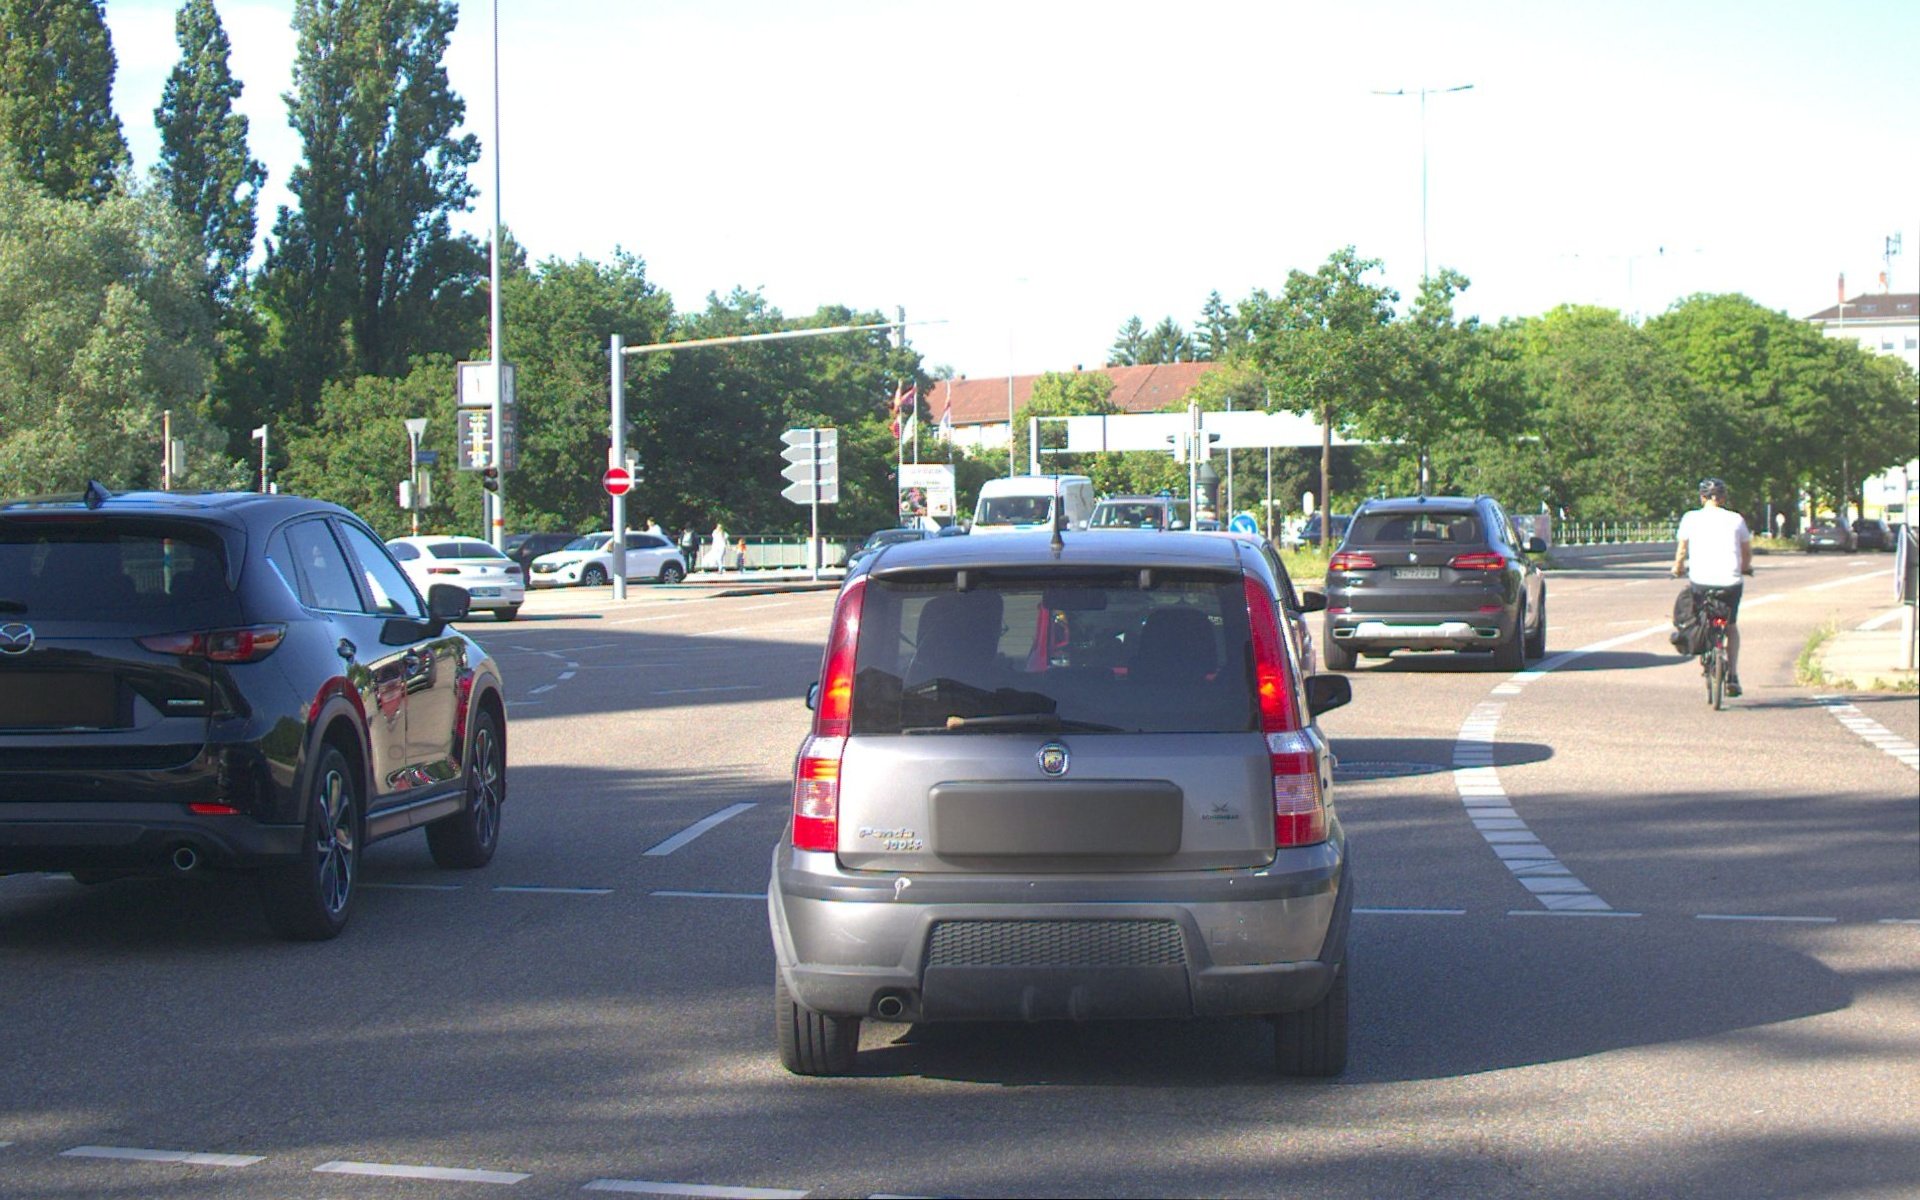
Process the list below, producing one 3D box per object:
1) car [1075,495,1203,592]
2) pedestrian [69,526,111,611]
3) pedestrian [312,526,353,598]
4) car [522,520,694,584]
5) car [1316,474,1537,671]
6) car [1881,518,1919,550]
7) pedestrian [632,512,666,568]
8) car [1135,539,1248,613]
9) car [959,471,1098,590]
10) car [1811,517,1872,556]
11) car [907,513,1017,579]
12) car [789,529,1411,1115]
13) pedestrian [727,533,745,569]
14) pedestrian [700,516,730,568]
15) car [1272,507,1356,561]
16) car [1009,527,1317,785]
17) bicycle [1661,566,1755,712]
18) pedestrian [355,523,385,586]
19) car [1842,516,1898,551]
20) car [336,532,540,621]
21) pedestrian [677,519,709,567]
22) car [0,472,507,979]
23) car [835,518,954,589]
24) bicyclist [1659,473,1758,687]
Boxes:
[{"bbox_3d":[3.906,-1.236,74.115,1.938,2.001,4.929,0,1,13],"label":"car"},{"bbox_3d":[-15.108,-0.556,59.682,0.679,1.458,0.703,-1,1,-13],"label":"pedestrian"},{"bbox_3d":[-13.662,-0.816,74.831,0.709,1.542,0.729,-1,0,-23],"label":"pedestrian"},{"bbox_3d":[-8.980,-1.249,87.901,1.783,1.530,4.318,2,3,41],"label":"car"},{"bbox_3d":[4.864,-0.327,35.431,1.946,1.833,4.151,3,2,11],"label":"car"},{"bbox_3d":[46.247,-3.249,167.993,1.947,1.523,4.093,0,1,21],"label":"car"},{"bbox_3d":[-9.378,-1.797,103.608,0.790,1.658,0.629,1,-1,25],"label":"pedestrian"},{"bbox_3d":[5.418,-0.573,79.887,1.938,1.616,4.503,0,1,13],"label":"car"},{"bbox_3d":[1.601,-1.582,77.719,1.938,2.567,6.085,0,1,13],"label":"car"},{"bbox_3d":[35.089,-2.530,136.795,1.947,1.523,4.093,0,1,20],"label":"car"},{"bbox_3d":[0.079,-1.358,85.350,1.811,1.536,4.614,-2,1,12],"label":"car"},{"bbox_3d":[0.435,0.543,10.953,1.617,1.510,3.820,1,1,2],"label":"car"},{"bbox_3d":[-7.079,-1.552,108.810,0.423,1.132,0.397,1,-1,18],"label":"pedestrian"},{"bbox_3d":[-7.750,-1.839,108.927,0.721,1.635,0.672,1,-1,18],"label":"pedestrian"},{"bbox_3d":[10.975,-2.052,106.357,1.938,1.616,4.503,0,1,14],"label":"car"},{"bbox_3d":[1.356,0.280,21.678,1.618,1.458,3.750,1,1,8],"label":"car"},{"bbox_3d":[5.965,0.291,27.440,0.691,1.098,1.825,1,1,12],"label":"bicycle"},{"bbox_3d":[-14.550,-1.126,84.755,0.556,1.542,0.576,-2,0,-23],"label":"pedestrian"},{"bbox_3d":[40.044,-2.921,151.185,1.947,1.523,4.093,0,1,21],"label":"car"},{"bbox_3d":[-8.697,-0.415,57.010,1.780,1.410,4.319,-1,2,-32],"label":"car"},{"bbox_3d":[-8.546,-1.825,109.971,0.671,1.497,0.778,1,-1,32],"label":"pedestrian"},{"bbox_3d":[-3.141,0.384,13.699,1.874,1.703,4.196,0,1,3],"label":"car"},{"bbox_3d":[-1.469,-1.070,78.260,1.937,1.502,3.999,-2,1,10],"label":"car"},{"bbox_3d":[5.956,-0.171,27.380,0.724,1.654,1.112,1,1,12],"label":"bicyclist"}]
